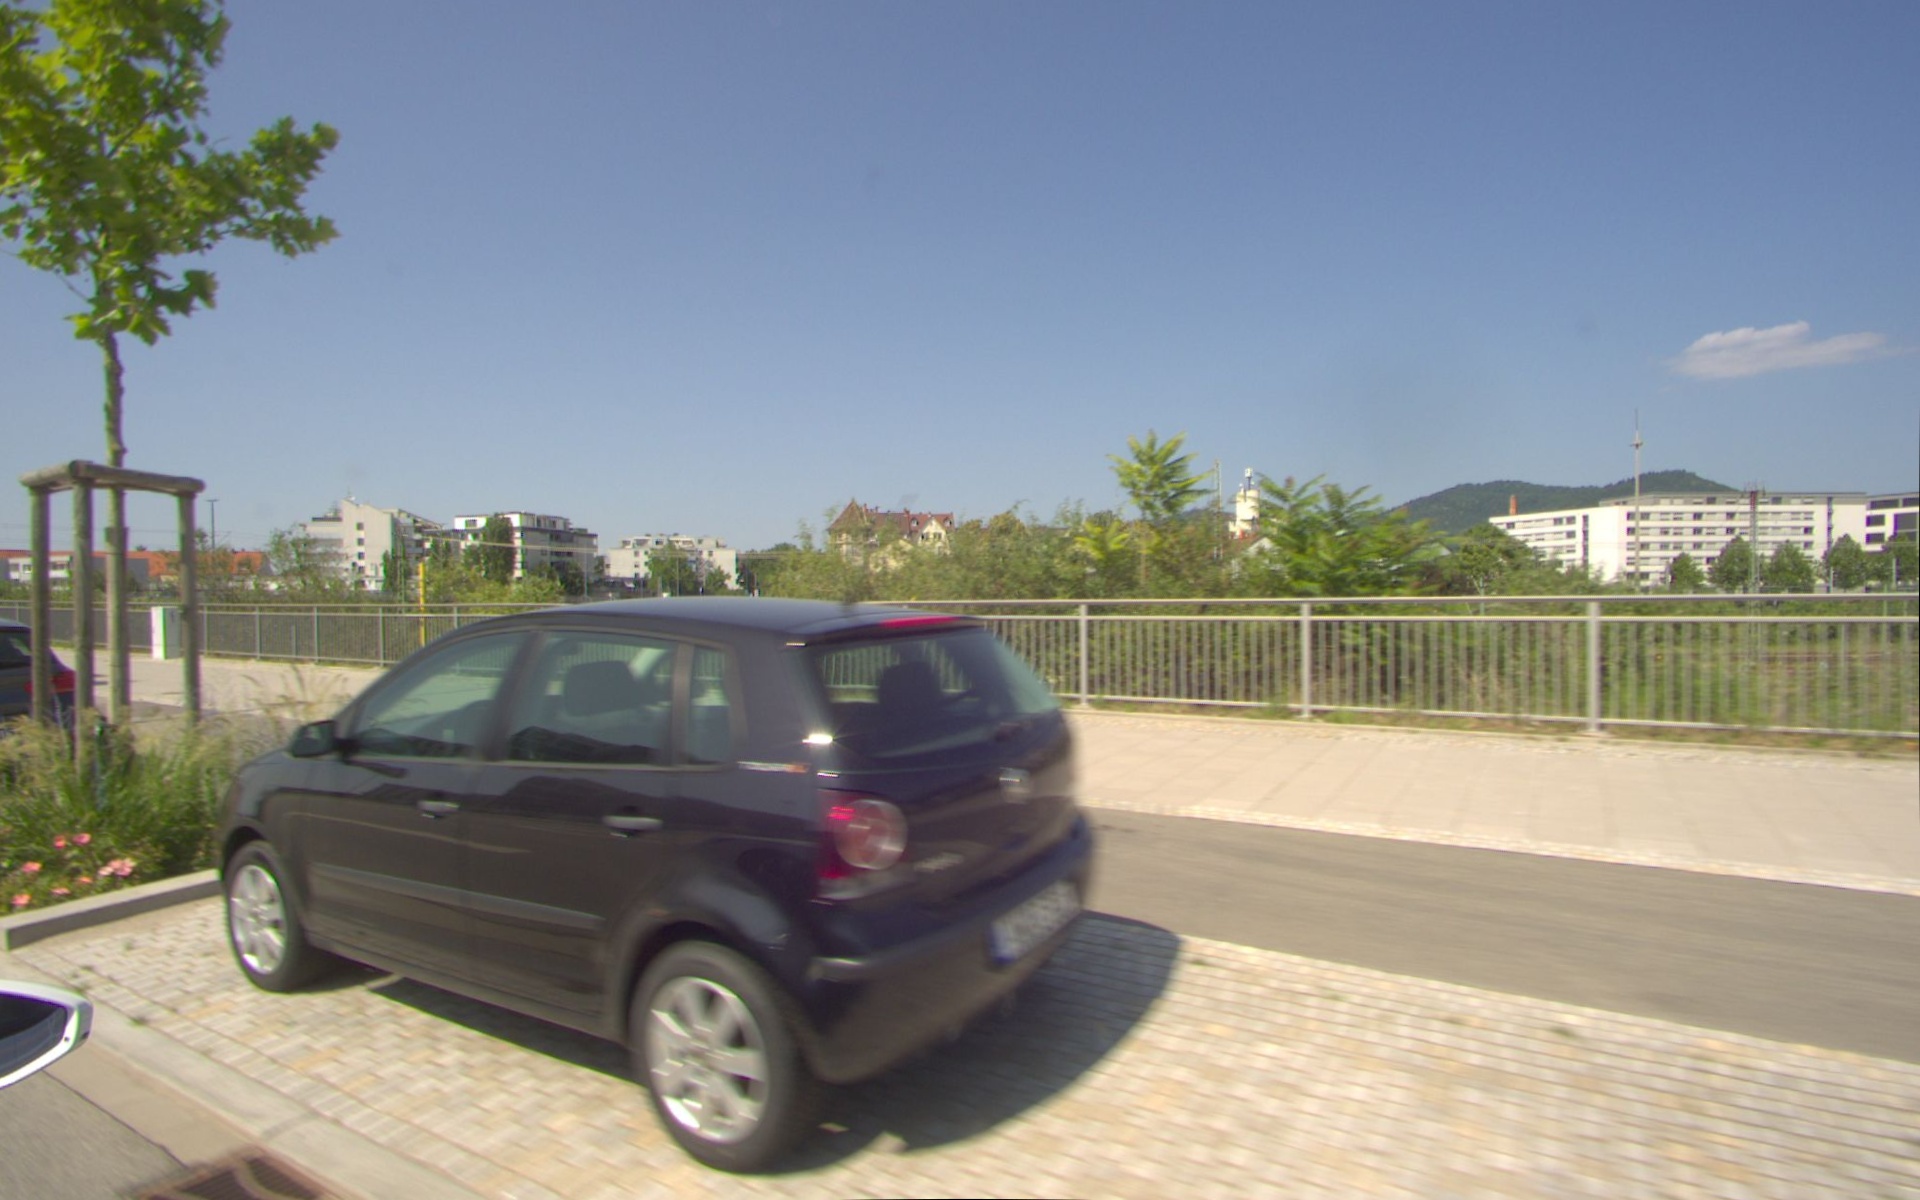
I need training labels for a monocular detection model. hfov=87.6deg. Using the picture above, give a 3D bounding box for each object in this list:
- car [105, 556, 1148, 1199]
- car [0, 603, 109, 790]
[{"bbox_3d":[-1.429,0.686,3.932,3.896,1.482,1.701,-2,1,30],"label":"car"},{"bbox_3d":[-9.227,0.799,8.659,4.210,1.420,1.699,-2,1,33],"label":"car"}]
